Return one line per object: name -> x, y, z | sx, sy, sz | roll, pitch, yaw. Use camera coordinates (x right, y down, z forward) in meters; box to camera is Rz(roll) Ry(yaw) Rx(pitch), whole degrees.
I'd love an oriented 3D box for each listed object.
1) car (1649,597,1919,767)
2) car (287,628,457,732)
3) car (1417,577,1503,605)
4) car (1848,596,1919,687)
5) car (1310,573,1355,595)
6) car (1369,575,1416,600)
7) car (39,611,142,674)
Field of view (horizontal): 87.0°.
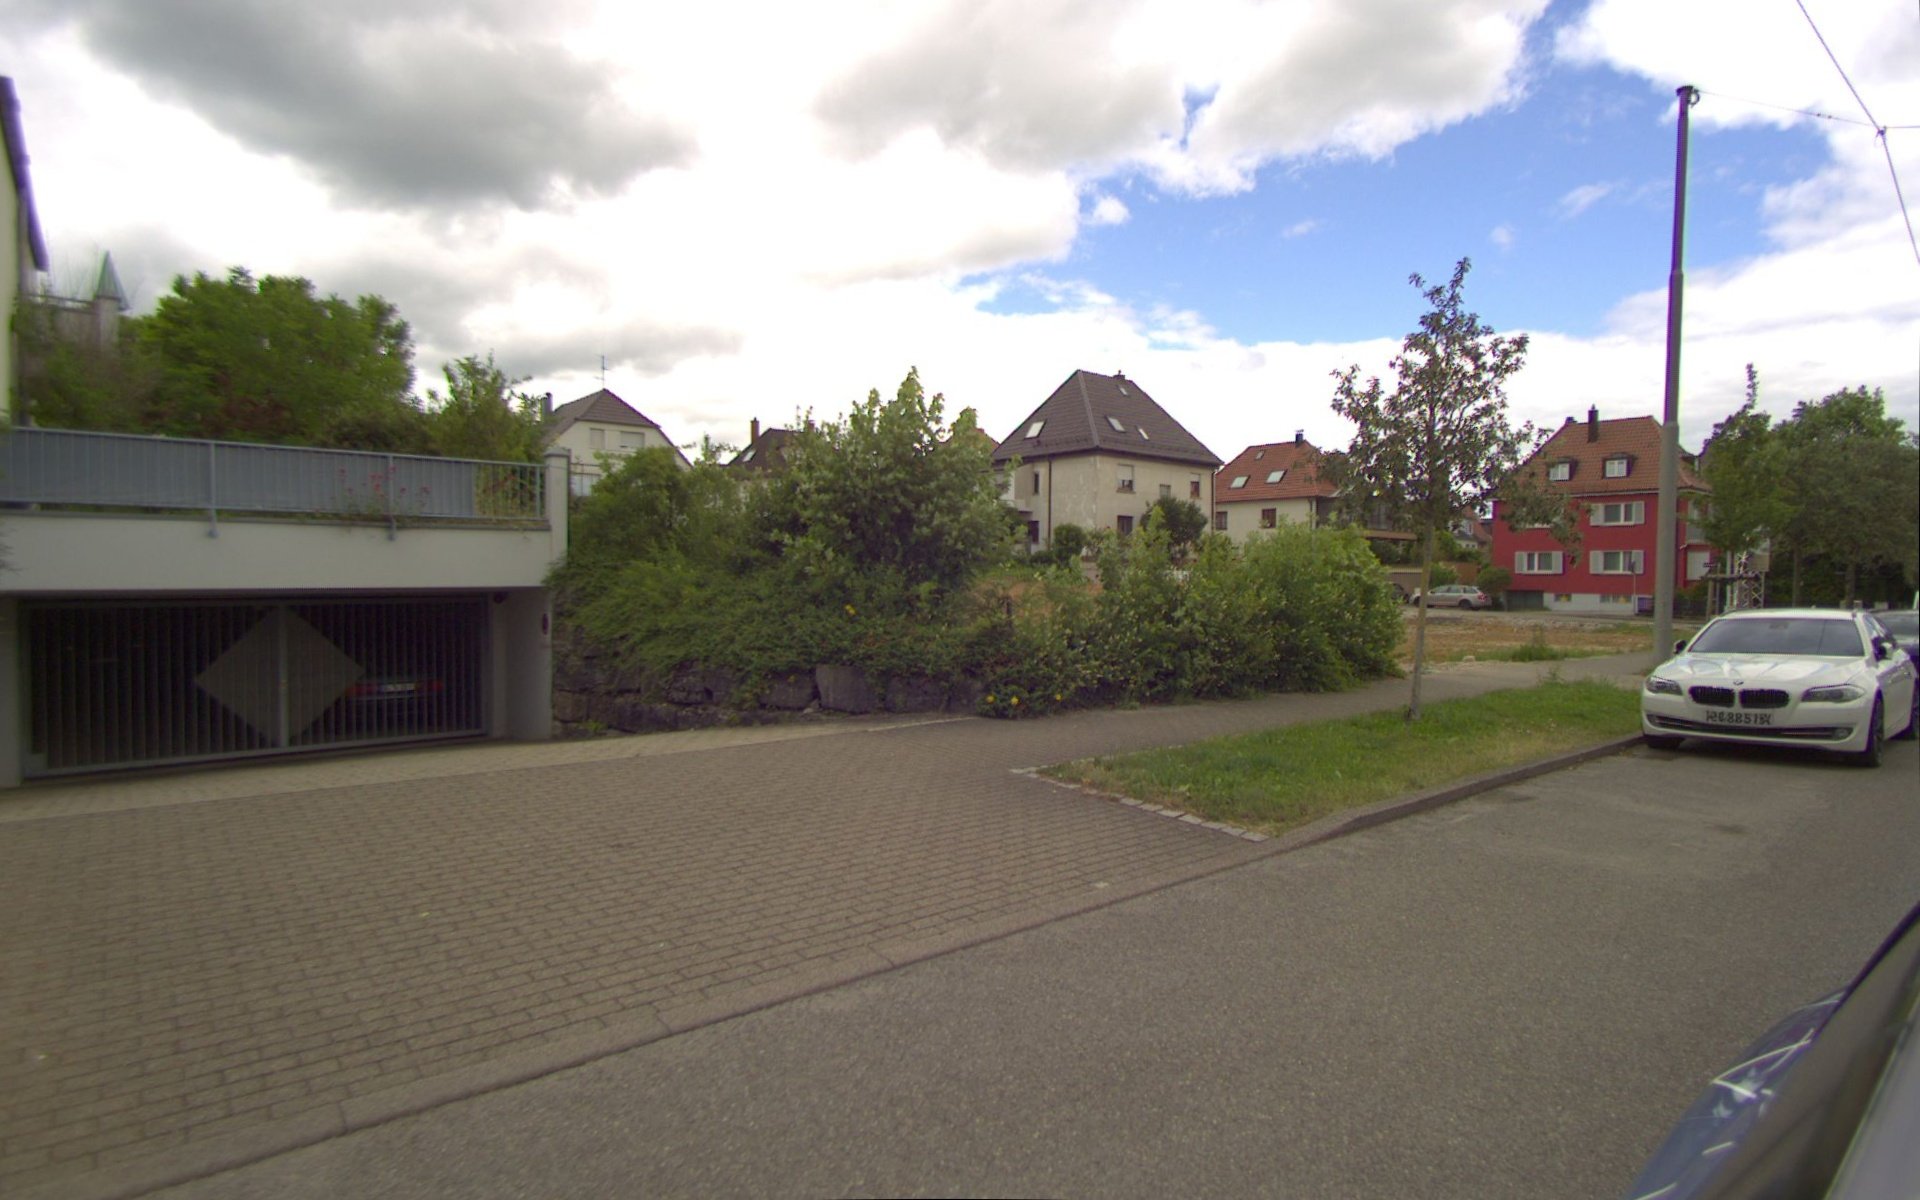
car -> 9.045, 0.723, 10.852 | 4.327, 1.472, 1.696 | 0, -1, -41
car -> -10.452, 1.297, 17.848 | 1.965, 1.498, 3.994 | 0, 0, -40
car -> 29.903, -0.526, 60.603 | 1.730, 1.442, 4.227 | 2, 2, -42
car -> 17.567, 0.694, 18.456 | 4.149, 1.535, 1.667 | 0, 0, -43
car -> 26.240, -1.129, 71.299 | 3.442, 1.486, 1.619 | 0, 0, -43
car -> 28.825, -0.830, 67.471 | 3.442, 1.560, 1.619 | 0, 0, -43
car -> -23.115, 1.061, 26.993 | 1.965, 1.498, 3.994 | 0, 0, -40
